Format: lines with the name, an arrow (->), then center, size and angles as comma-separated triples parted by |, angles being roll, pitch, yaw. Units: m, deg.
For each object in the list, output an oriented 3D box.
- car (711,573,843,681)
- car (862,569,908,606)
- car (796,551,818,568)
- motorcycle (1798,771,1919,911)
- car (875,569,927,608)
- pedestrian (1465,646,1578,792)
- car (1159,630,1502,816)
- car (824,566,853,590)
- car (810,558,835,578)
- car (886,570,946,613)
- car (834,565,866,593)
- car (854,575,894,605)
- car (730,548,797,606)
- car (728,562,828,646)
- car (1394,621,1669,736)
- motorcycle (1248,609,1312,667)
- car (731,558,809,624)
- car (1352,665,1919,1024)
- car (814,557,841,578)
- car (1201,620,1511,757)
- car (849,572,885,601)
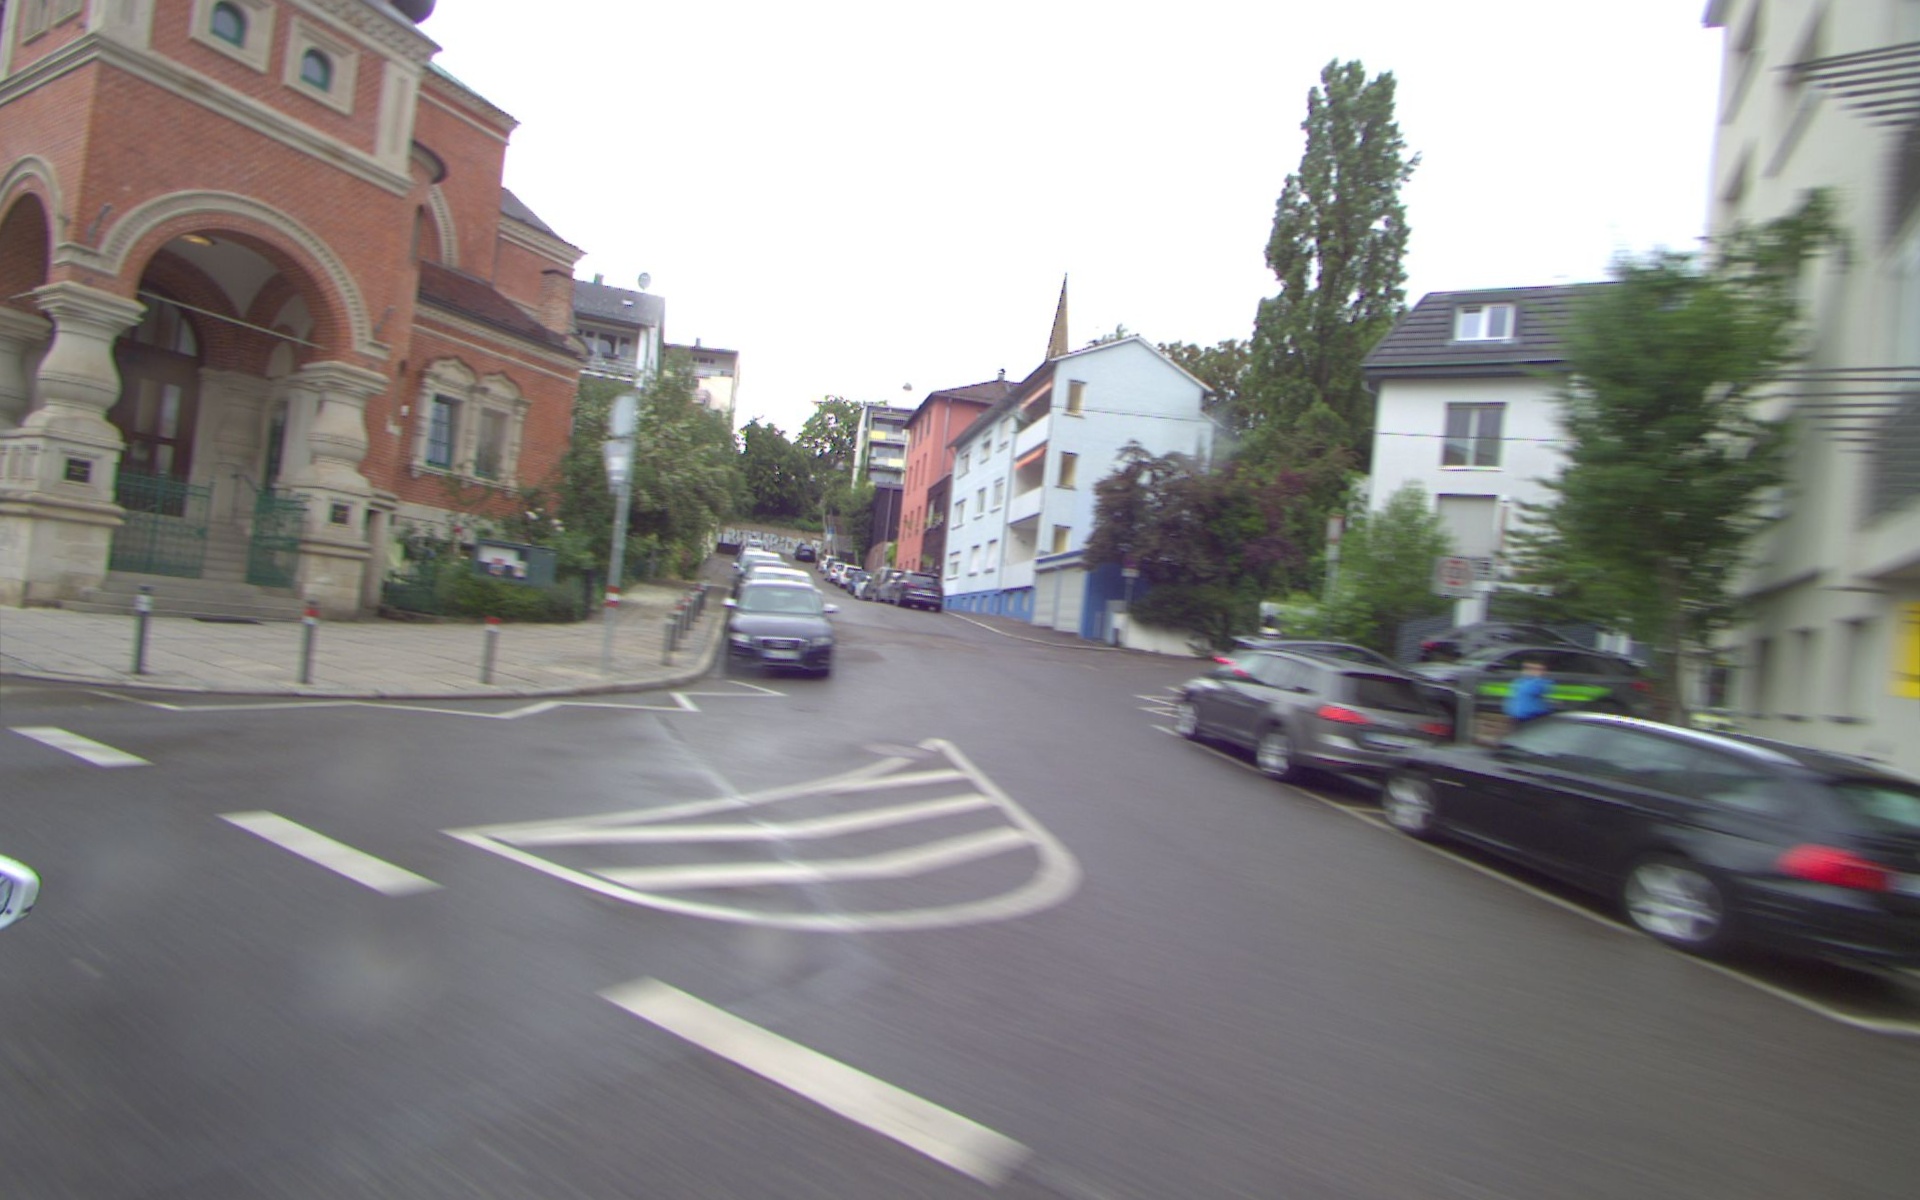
car -> -3.298, 0.377, 17.786 | 1.910, 1.387, 4.463 | 5, 2, -13
car -> -3.830, -0.593, 50.948 | 1.798, 1.548, 3.995 | 8, -2, -10
car -> -15.199, -4.026, 99.600 | 1.799, 1.424, 3.988 | 8, 1, -12
motorcycle -> 8.509, 2.192, 8.537 | 0.543, 0.992, 2.208 | 6, 1, -11
car -> -2.756, -0.501, 46.176 | 1.798, 1.422, 3.996 | 8, -2, -9
pedestrian -> 7.809, 1.625, 14.044 | 0.765, 1.823, 1.021 | 6, 3, -1
car -> 4.372, 1.380, 12.818 | 1.969, 1.476, 4.438 | 7, 1, -10
car -> -8.707, -1.577, 71.906 | 1.798, 1.424, 3.990 | 8, 1, -9
car -> -12.385, -2.906, 90.706 | 1.800, 1.425, 3.985 | 8, 3, -12
car -> -1.824, -0.297, 40.609 | 1.798, 1.422, 3.996 | 8, -2, -9
car -> -7.408, -1.429, 67.419 | 1.798, 1.475, 3.989 | 8, 2, -9
car -> -4.915, -0.537, 57.134 | 1.798, 1.423, 3.994 | 8, -1, -9
car -> -6.592, -0.816, 33.532 | 1.911, 1.535, 3.832 | 7, 3, -13
car -> -4.192, 0.015, 22.856 | 1.915, 1.515, 3.916 | 5, 2, -13
car -> 10.256, 1.431, 18.423 | 3.925, 1.562, 2.003 | 5, -4, 18
motorcycle -> 9.506, 1.173, 30.019 | 0.934, 1.554, 2.474 | 6, -4, -1
car -> -5.289, -0.298, 27.748 | 1.909, 1.464, 3.617 | 3, 4, -12
car -> 5.337, 1.599, 7.843 | 1.970, 1.475, 4.436 | 8, 1, -12
car -> -11.394, -2.790, 86.416 | 1.800, 1.422, 3.993 | 8, -2, -12
car -> 6.454, 1.403, 16.909 | 4.363, 1.639, 2.001 | 6, 2, 8
car -> -5.768, -0.808, 62.227 | 1.798, 1.422, 3.996 | 8, -2, -9
